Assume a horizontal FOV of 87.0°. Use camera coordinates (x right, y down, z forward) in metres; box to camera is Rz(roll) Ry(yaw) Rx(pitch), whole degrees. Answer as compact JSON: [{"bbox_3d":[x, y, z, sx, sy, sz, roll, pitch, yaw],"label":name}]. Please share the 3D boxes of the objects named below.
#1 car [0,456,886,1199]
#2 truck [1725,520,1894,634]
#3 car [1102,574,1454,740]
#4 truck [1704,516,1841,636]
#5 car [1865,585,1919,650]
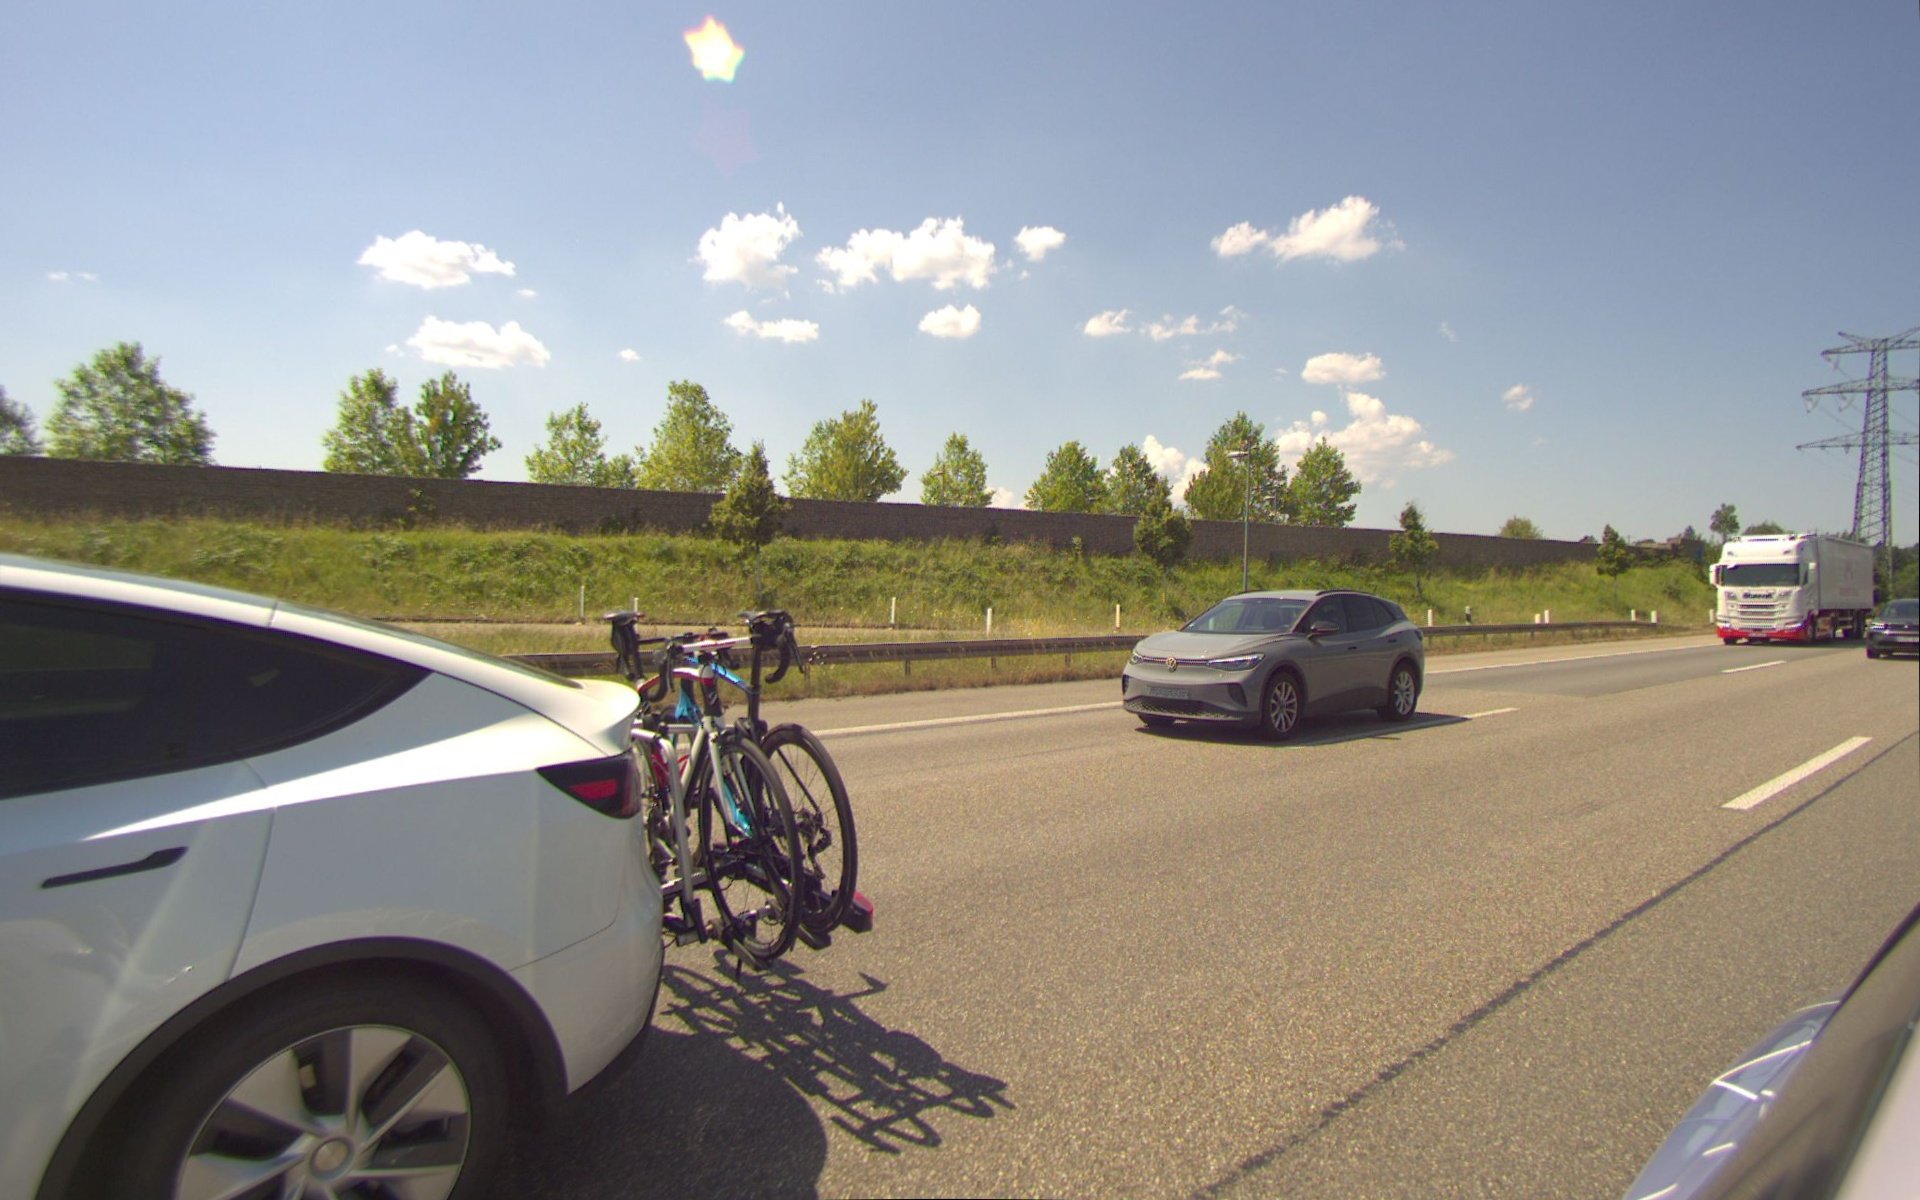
[{"bbox_3d":[-2.918,0.596,1.808,5.502,1.657,1.954,0,0,-41],"label":"car"},{"bbox_3d":[33.877,-0.815,40.092,12.282,3.957,3.074,0,0,-40],"label":"truck"},{"bbox_3d":[3.956,0.552,12.220,4.503,1.657,1.872,0,0,-39],"label":"car"},{"bbox_3d":[28.674,-0.791,35.701,3.779,3.957,3.075,0,0,-40],"label":"truck"},{"bbox_3d":[25.937,0.437,27.102,3.975,1.667,1.954,0,0,-40],"label":"car"}]
